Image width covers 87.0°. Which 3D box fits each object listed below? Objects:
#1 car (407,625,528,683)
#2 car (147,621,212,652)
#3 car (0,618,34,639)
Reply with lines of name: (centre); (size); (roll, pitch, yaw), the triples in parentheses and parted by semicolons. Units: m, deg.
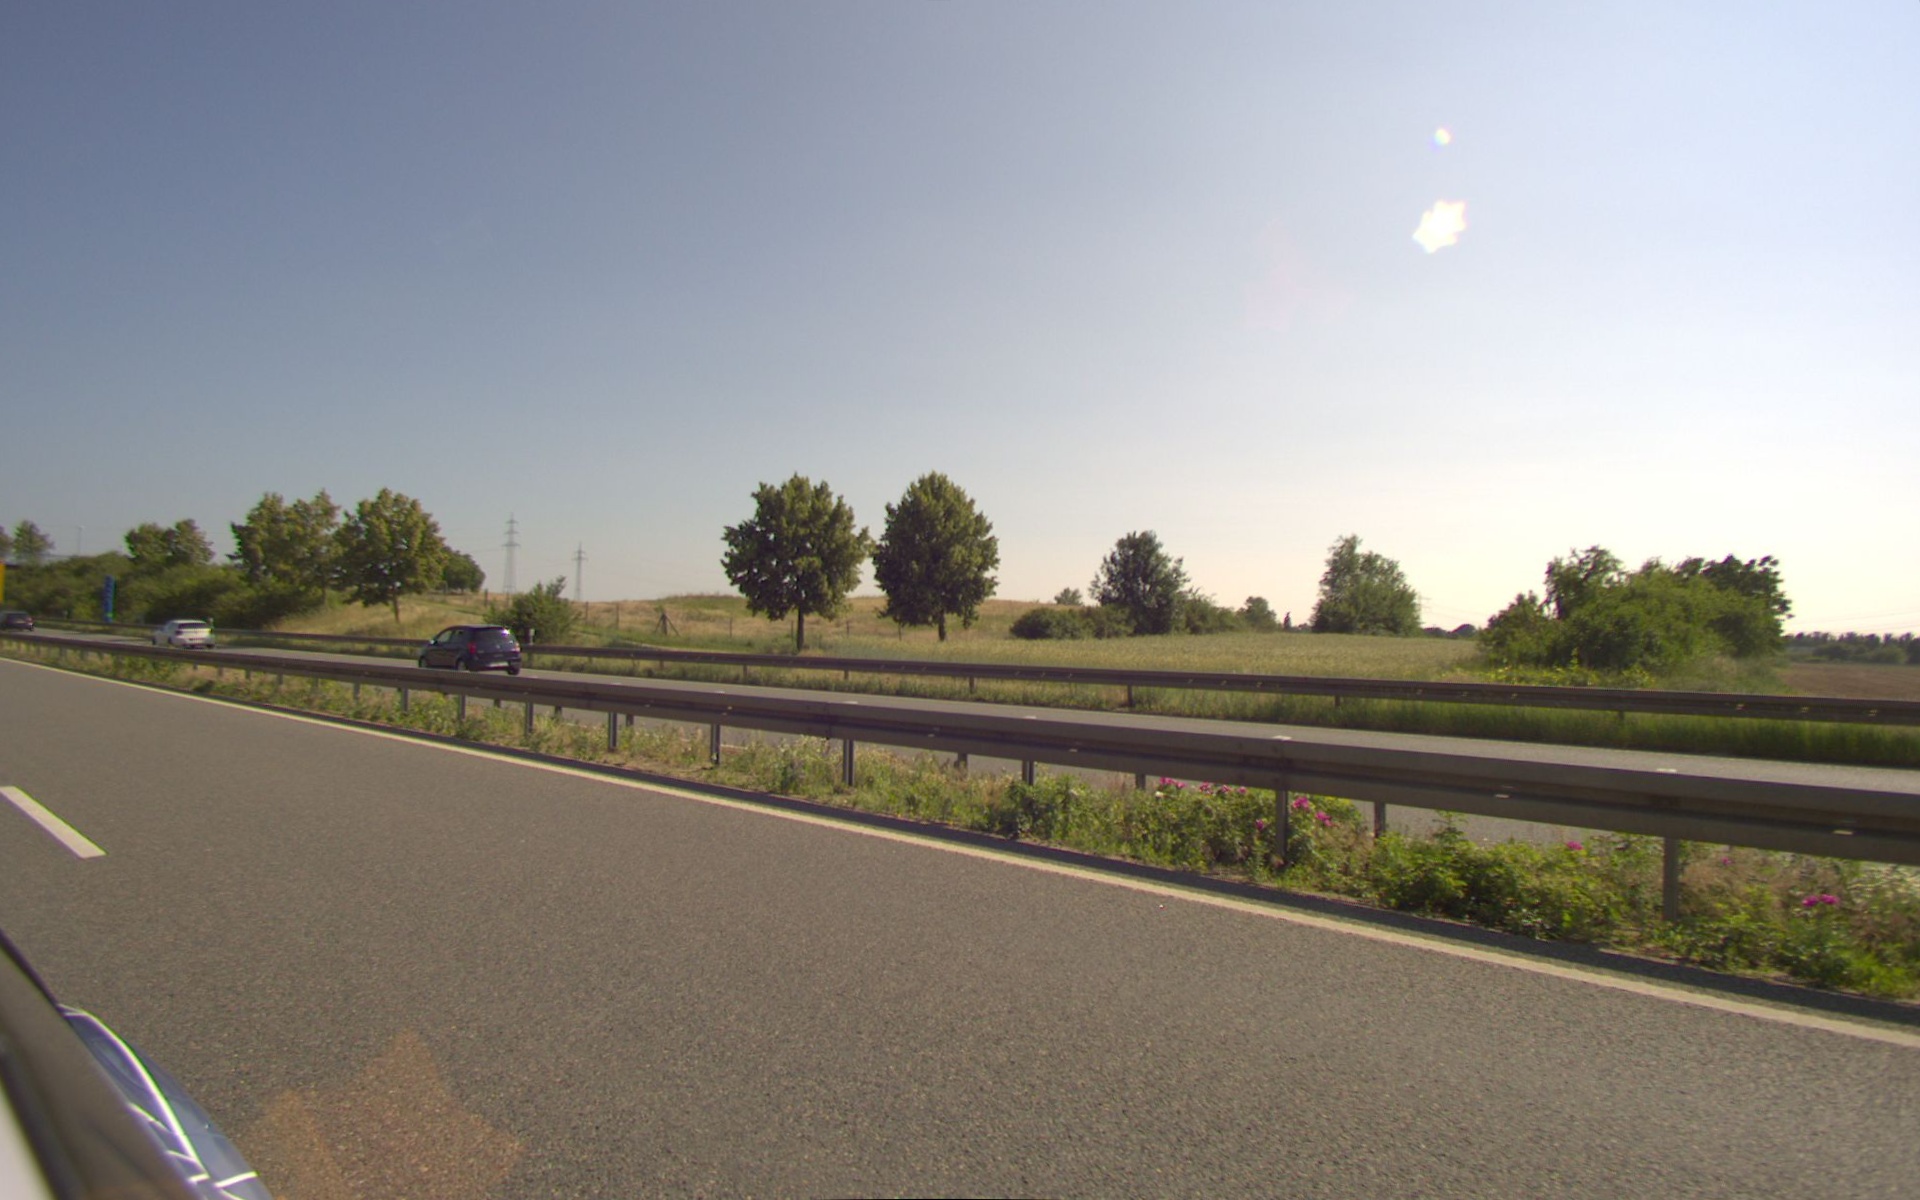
car: (-14.775, 1.565, 30.301); (3.996, 1.545, 1.737); (-1, 0, 39)
car: (-38.501, 1.766, 49.864); (4.345, 1.443, 1.652); (0, 0, 40)
car: (-68.215, 2.052, 72.718); (4.318, 1.411, 1.853); (0, 0, 40)
